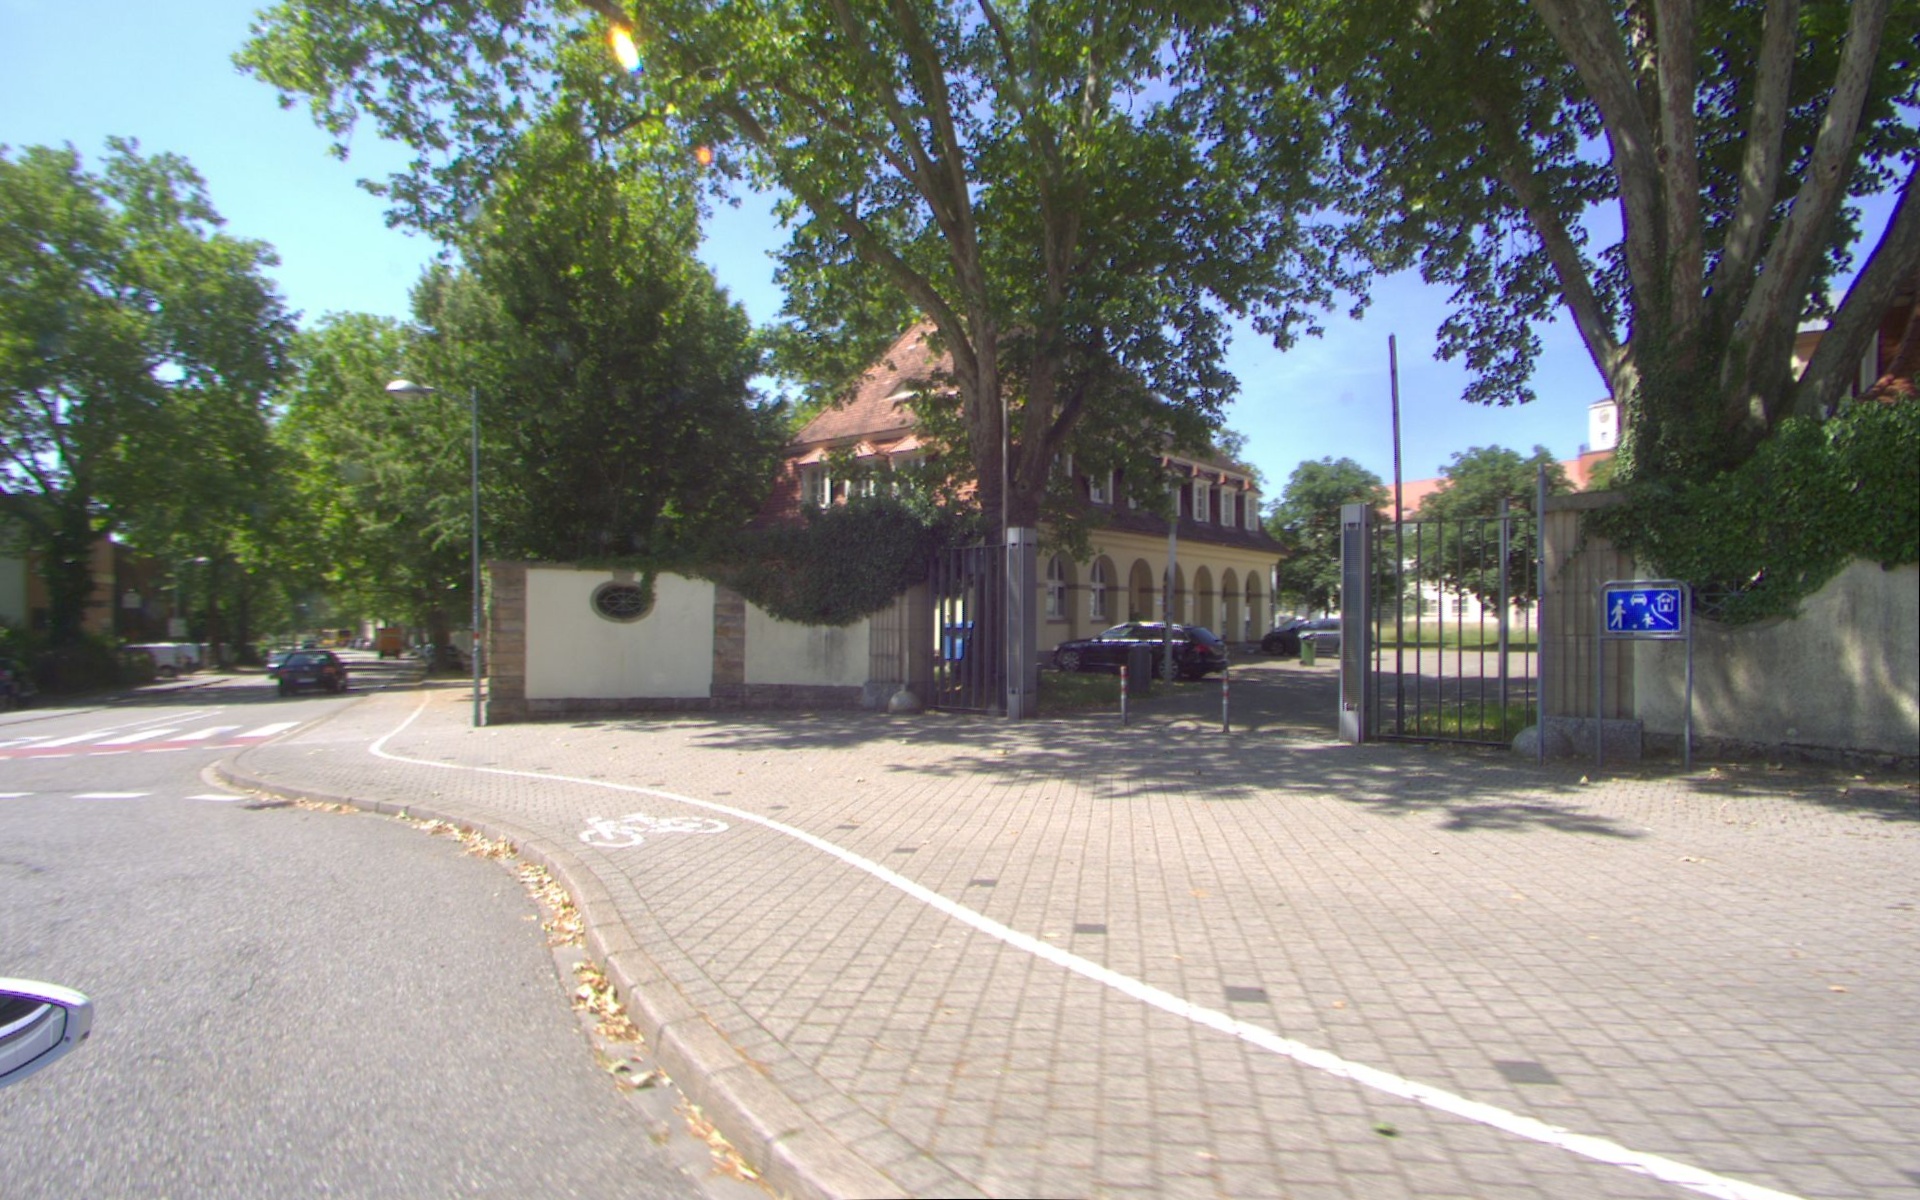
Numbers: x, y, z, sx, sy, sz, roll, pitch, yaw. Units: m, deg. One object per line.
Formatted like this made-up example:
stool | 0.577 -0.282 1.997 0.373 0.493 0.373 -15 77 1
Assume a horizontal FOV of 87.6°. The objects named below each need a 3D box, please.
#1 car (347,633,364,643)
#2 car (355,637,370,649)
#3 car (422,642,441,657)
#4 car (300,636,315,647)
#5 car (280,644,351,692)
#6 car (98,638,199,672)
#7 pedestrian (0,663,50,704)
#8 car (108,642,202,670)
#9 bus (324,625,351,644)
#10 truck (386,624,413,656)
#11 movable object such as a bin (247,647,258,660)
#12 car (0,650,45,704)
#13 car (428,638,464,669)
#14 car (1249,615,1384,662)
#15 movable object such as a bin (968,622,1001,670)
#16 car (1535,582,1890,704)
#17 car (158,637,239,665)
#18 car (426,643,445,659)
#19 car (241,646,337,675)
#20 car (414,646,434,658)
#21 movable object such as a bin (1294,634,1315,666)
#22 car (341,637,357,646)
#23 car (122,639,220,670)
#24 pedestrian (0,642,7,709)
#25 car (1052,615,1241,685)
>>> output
car | -98.305 6.178 162.836 1.753 1.392 3.698 -1 -1 -41
car | -91.576 6.602 153.363 1.860 1.706 3.978 0 -3 -33
car | -58.480 5.476 110.717 1.746 1.484 3.857 -1 -1 -30
car | -105.953 6.809 162.682 1.973 1.687 3.979 0 -3 -33
car | -22.009 2.284 34.326 1.691 1.466 4.040 0 -2 -28
car | -43.877 2.982 54.238 3.945 1.815 1.858 2 -3 -31
pedestrian | -27.137 2.411 29.061 0.743 1.136 0.896 -1 -1 -18
car | -46.480 3.240 57.909 3.945 1.534 1.859 2 -3 -31
bus | -112.954 6.241 181.623 2.643 3.190 11.105 0 -2 -40
truck | -57.863 4.179 103.419 2.343 3.172 5.745 0 -3 -29
movable object such as a bin | -59.153 4.473 83.689 0.615 1.062 0.619 0 -1 -22
car | -29.467 2.285 29.441 3.333 1.566 1.721 0 -2 -18
car | -29.374 3.025 57.299 1.720 1.577 4.760 -2 0 -27
car | 13.639 1.418 38.391 4.443 1.422 1.986 4 2 39
movable object such as a bin | 0.682 1.273 27.946 0.668 1.313 0.665 -2 -1 29
car | 13.050 0.783 17.850 4.796 1.910 1.966 -2 -2 32
car | -51.283 3.454 67.554 4.085 1.827 1.893 2 -3 -31
car | -52.330 5.070 99.889 1.559 1.484 3.857 -1 -1 -30
car | -35.909 3.227 53.612 4.310 1.444 1.774 -2 -2 11
car | -62.874 6.085 117.541 1.748 1.392 3.708 -1 -1 -33
movable object such as a bin | 11.229 1.623 32.611 0.528 1.021 0.527 -1 -1 7
car | -103.177 6.981 169.201 1.752 1.392 3.699 -1 -1 -40
car | -47.520 3.290 60.424 4.377 1.827 1.893 2 -3 -31
pedestrian | -25.789 1.992 26.197 0.860 1.764 1.109 -1 -1 -22
car | 4.836 1.236 26.287 4.443 1.422 1.986 4 2 39
